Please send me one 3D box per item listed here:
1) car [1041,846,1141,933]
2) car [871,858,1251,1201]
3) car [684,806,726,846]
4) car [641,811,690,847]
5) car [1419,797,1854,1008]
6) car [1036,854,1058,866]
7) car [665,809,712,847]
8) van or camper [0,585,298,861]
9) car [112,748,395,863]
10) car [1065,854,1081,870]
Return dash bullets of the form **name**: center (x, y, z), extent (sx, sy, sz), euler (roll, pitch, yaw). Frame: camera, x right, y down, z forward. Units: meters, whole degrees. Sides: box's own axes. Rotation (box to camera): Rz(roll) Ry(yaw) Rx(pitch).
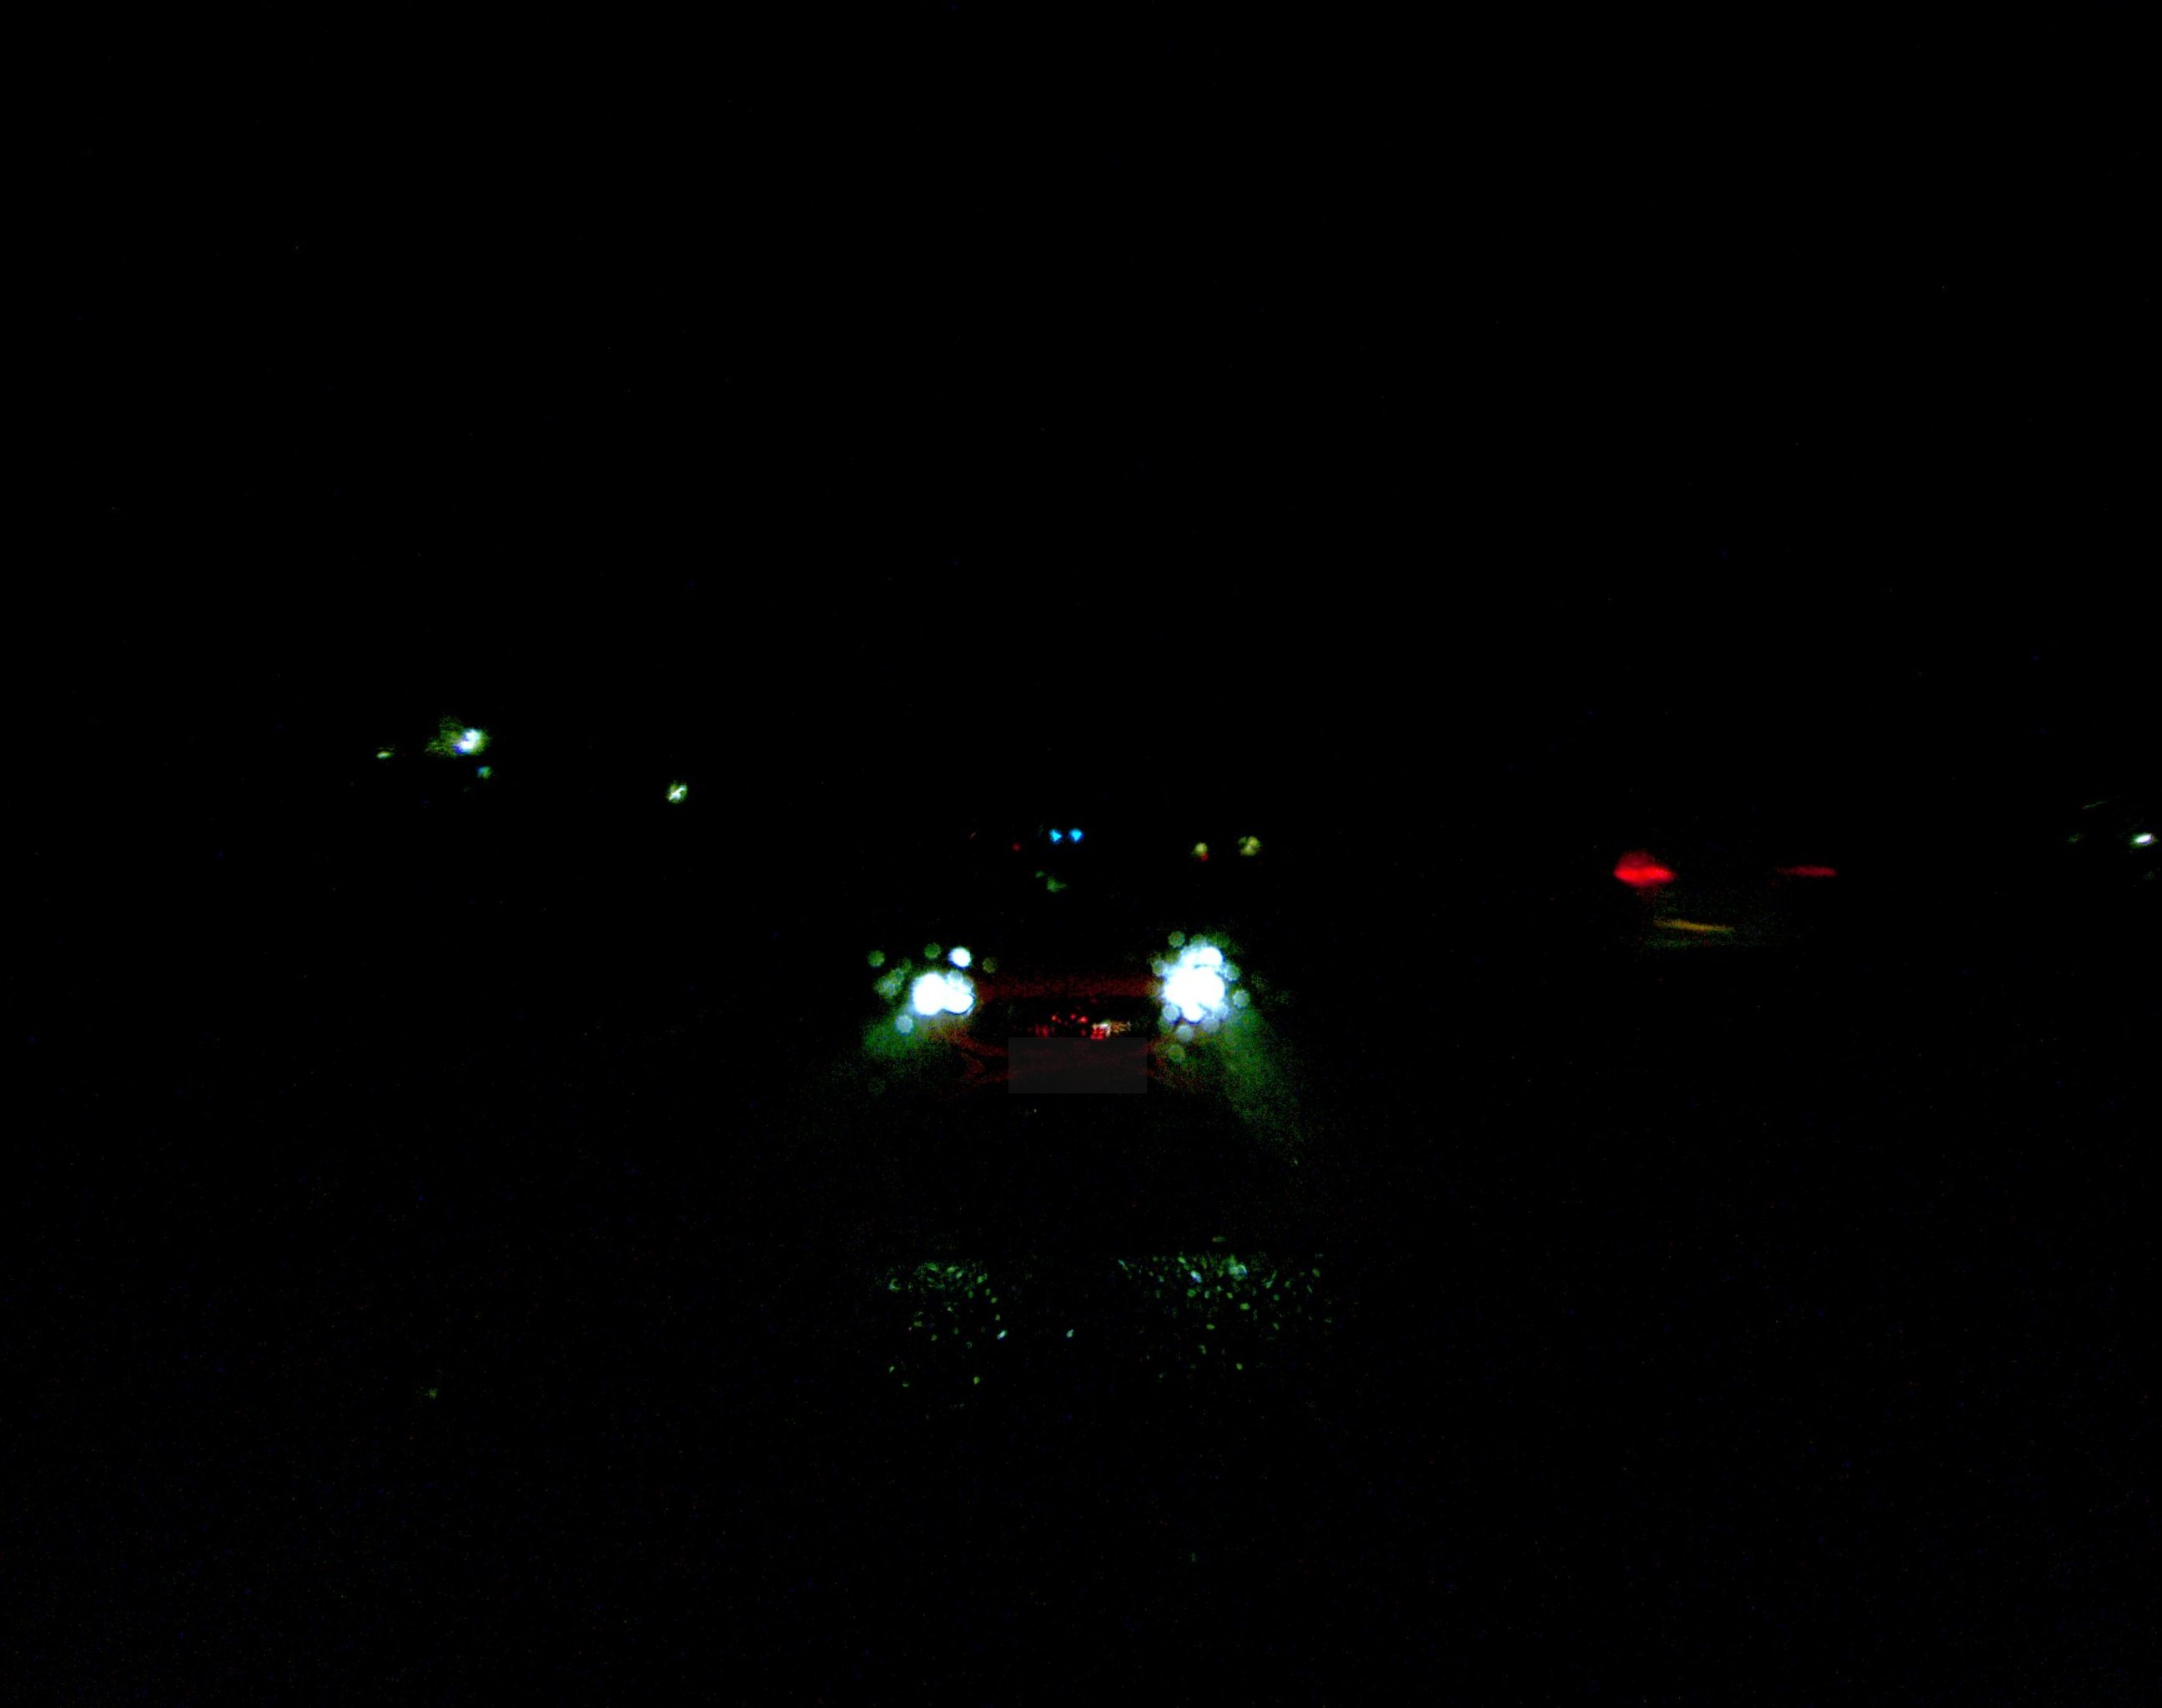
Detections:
- **car**: center (0.088, 0.714, 18.250), extent (1.840, 1.725, 4.938), euler (-2, 1, -5)
- **car**: center (-0.071, 0.889, 5.951), extent (1.826, 1.573, 4.354), euler (-2, 1, 1)
- **car**: center (-27.863, -2.048, 56.407), extent (1.937, 2.759, 4.249), euler (-3, 1, -16)
- **car**: center (-25.077, -1.496, 46.013), extent (1.735, 2.002, 3.696), euler (-3, 1, -16)
- **car**: center (6.455, 0.493, 9.748), extent (2.090, 2.001, 4.713), euler (-1, 0, 0)
- **car**: center (-5.836, 0.985, 131.096), extent (2.003, 2.002, 3.990), euler (-3, 1, -33)
- **car**: center (-26.386, -1.705, 51.204), extent (1.937, 2.406, 4.249), euler (-3, 1, -16)
- **van or camper**: center (-12.783, -1.347, 8.971), extent (2.417, 2.777, 5.763), euler (-3, 1, -18)
- **car**: center (-16.413, -0.885, 15.447), extent (2.001, 2.002, 3.994), euler (-3, 1, -16)
- **car**: center (-1.032, 1.076, 101.393), extent (1.998, 2.002, 3.999), euler (-2, 1, 1)
